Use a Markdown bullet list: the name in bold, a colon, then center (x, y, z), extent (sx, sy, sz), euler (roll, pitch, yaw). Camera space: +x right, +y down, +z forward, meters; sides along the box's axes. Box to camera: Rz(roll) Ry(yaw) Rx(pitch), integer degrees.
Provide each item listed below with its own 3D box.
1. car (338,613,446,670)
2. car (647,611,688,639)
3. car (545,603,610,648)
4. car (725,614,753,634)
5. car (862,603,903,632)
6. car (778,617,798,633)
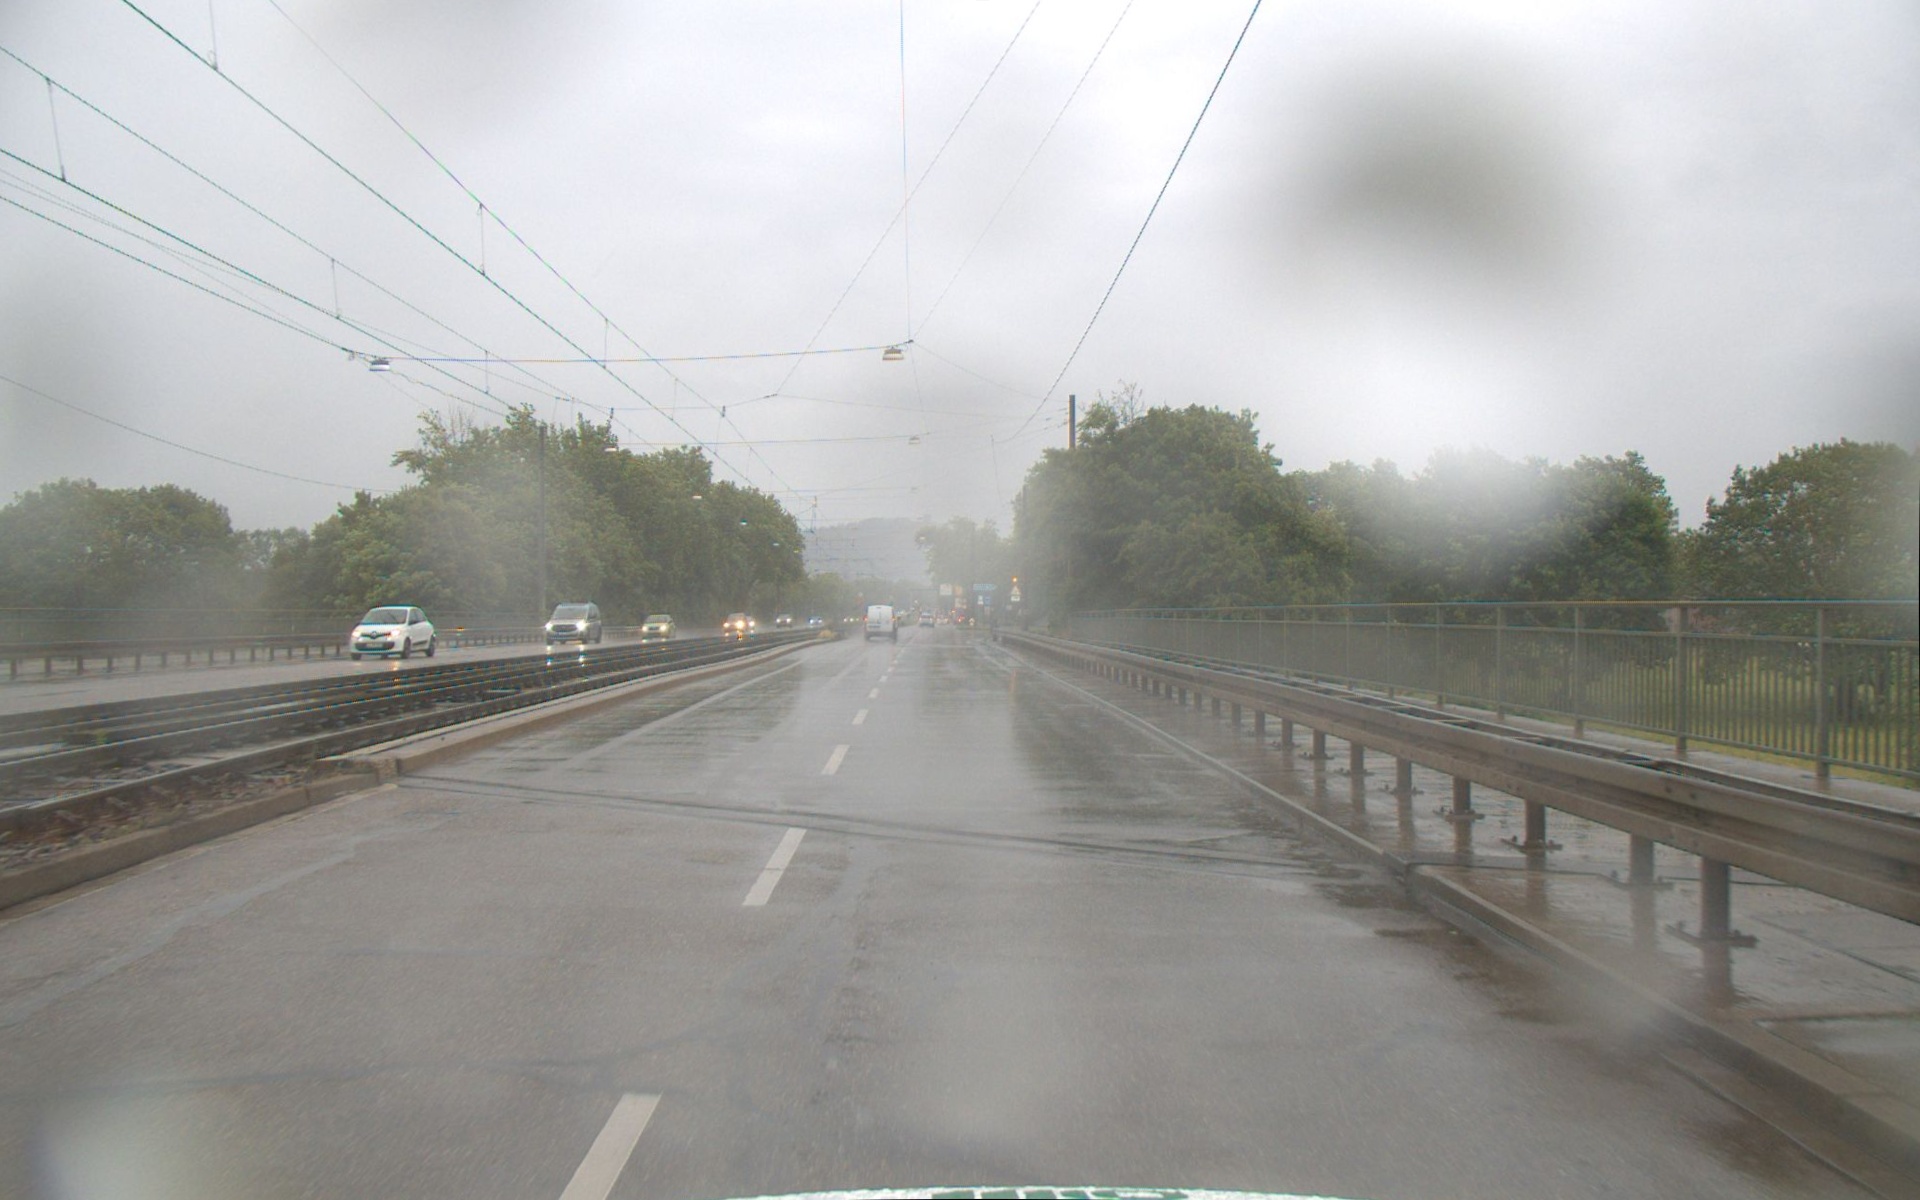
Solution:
- **car**: center (-17.258, 1.234, 50.455), extent (1.953, 1.646, 3.999), euler (-1, -1, -1)
- **car**: center (-17.427, 1.470, 98.712), extent (1.808, 1.622, 3.999), euler (0, -1, -1)
- **car**: center (-16.928, 1.117, 73.336), extent (1.811, 1.863, 4.393), euler (3, -1, -1)
- **car**: center (-18.267, 2.007, 137.043), extent (1.803, 1.601, 4.384), euler (0, -1, -1)
- **car**: center (-4.128, 0.942, 88.659), extent (2.035, 1.445, 3.999), euler (-1, -1, -1)
- **car**: center (-20.467, 2.972, 197.432), extent (1.953, 1.701, 4.870), euler (3, -1, -2)
